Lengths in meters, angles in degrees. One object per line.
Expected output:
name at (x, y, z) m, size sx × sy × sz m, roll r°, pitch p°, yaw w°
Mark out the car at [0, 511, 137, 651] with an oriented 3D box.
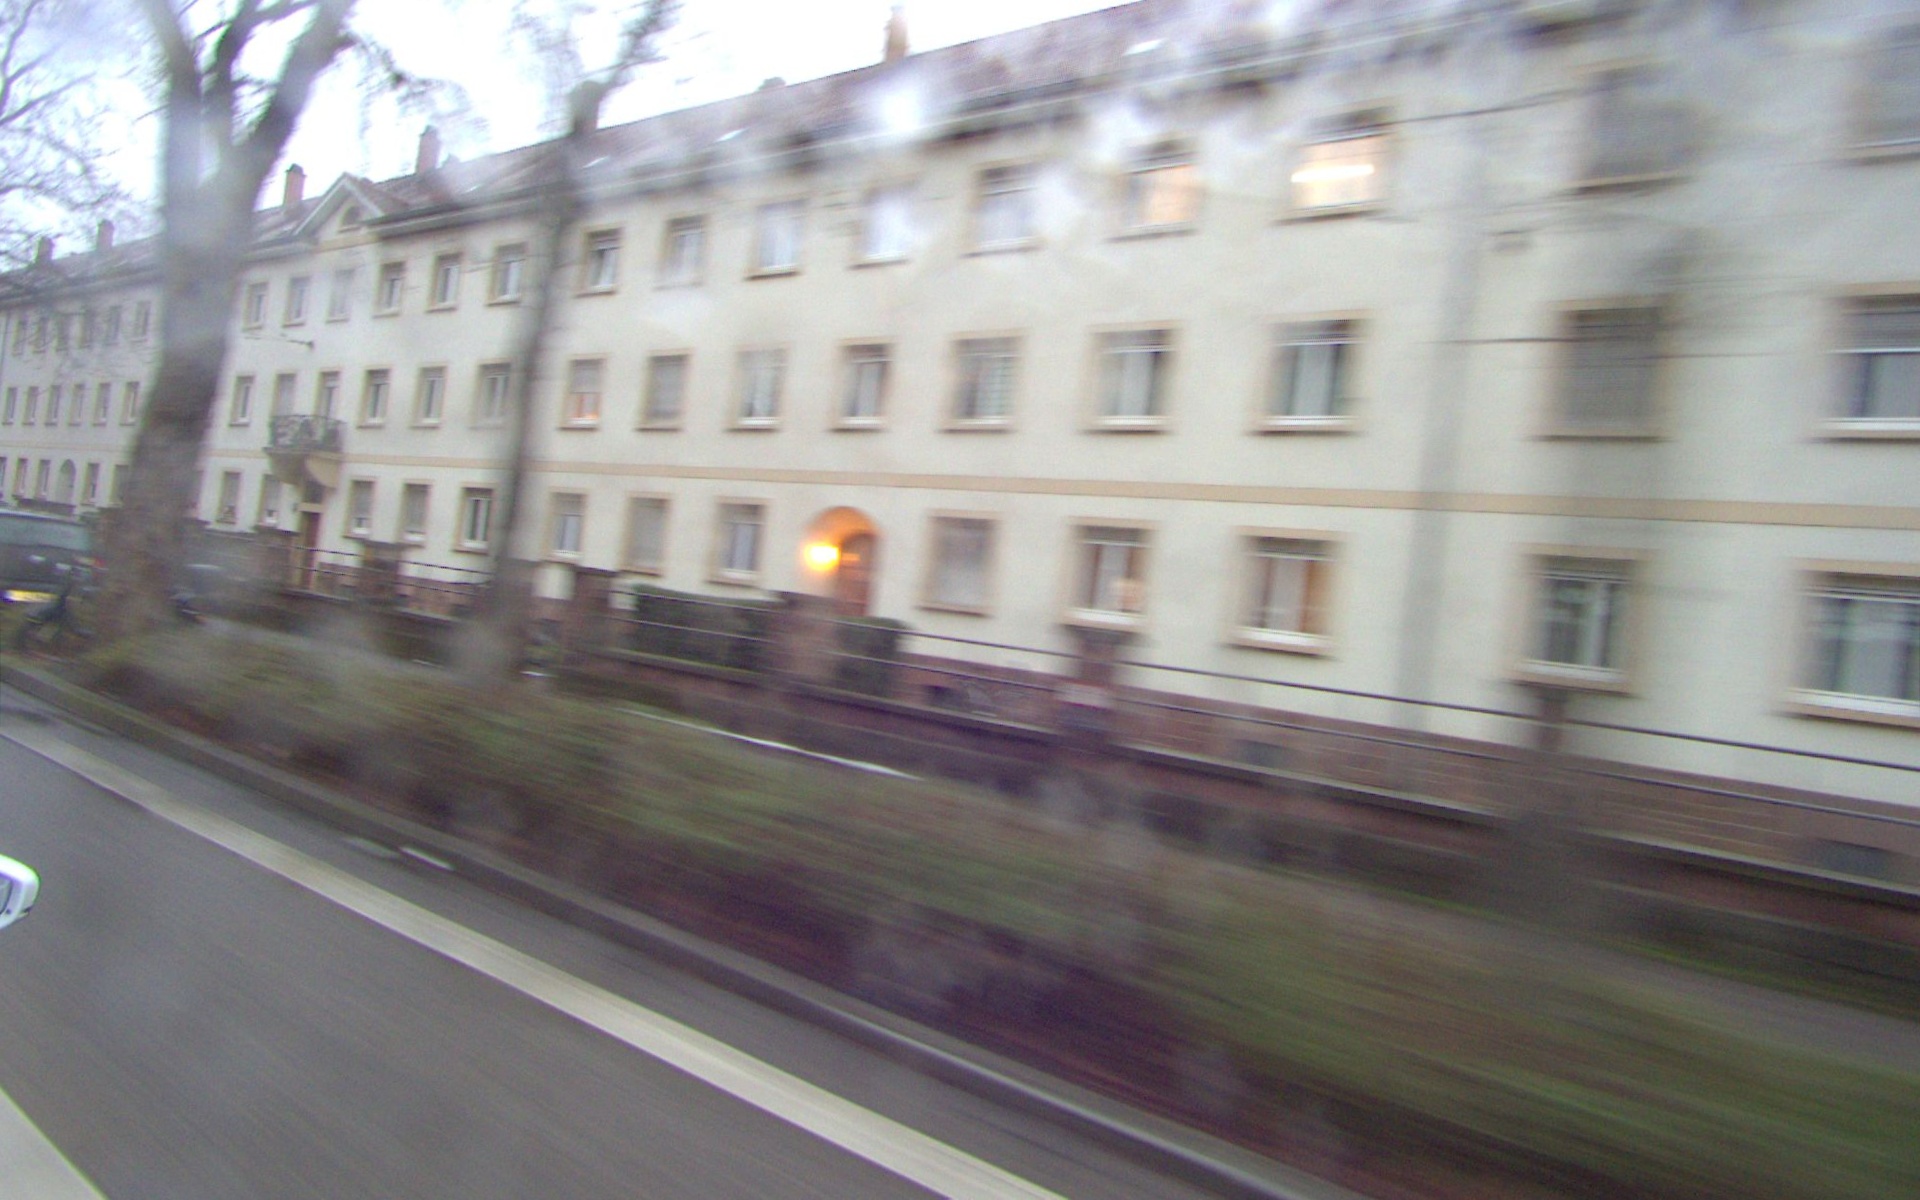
car at (-12.473, -0.394, 12.819) m, size 3.922 × 1.527 × 1.789 m, roll 6°, pitch -2°, yaw 32°
